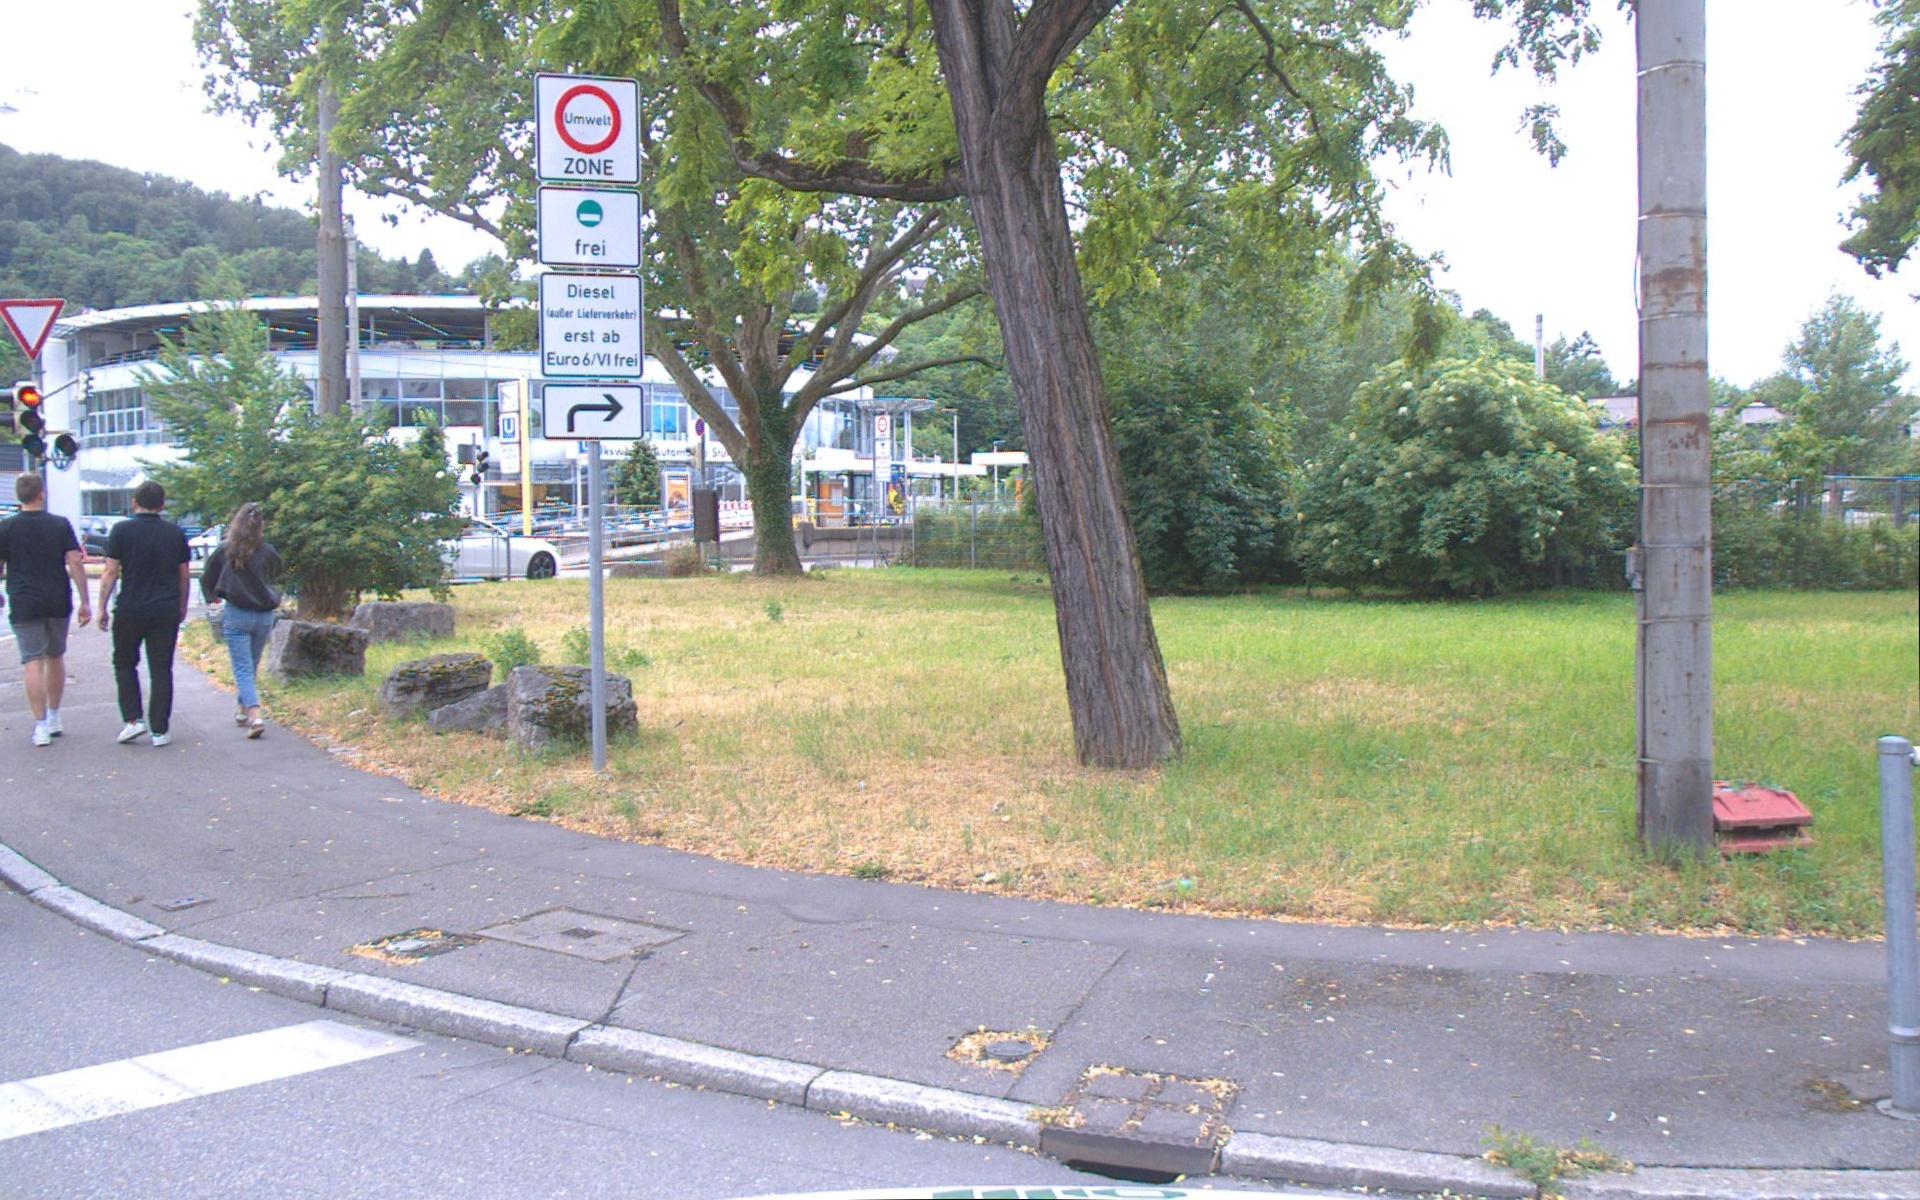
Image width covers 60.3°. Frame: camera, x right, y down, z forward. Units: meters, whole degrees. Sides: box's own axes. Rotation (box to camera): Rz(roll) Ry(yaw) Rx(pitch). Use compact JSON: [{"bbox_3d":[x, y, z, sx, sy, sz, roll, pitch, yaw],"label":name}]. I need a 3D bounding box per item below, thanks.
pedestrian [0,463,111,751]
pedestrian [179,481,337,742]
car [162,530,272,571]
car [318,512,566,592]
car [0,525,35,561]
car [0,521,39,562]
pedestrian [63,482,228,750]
[{"bbox_3d":[-6.392,0.028,11.348,0.773,1.889,0.692,1,3,37],"label":"pedestrian"},{"bbox_3d":[-4.975,0.056,11.730,0.773,1.769,0.692,1,3,37],"label":"pedestrian"},{"bbox_3d":[-28.961,-1.944,64.468,3.929,1.526,1.775,1,3,25],"label":"car"},{"bbox_3d":[-10.759,-1.065,34.695,1.769,1.533,4.878,2,4,37],"label":"car"},{"bbox_3d":[-42.933,-2.457,71.817,4.750,1.559,1.756,-2,3,-32],"label":"car"},{"bbox_3d":[-44.510,-2.619,74.938,4.750,1.834,1.756,-2,3,-32],"label":"car"},{"bbox_3d":[-5.535,0.083,11.248,0.773,1.744,0.692,1,3,37],"label":"pedestrian"}]
